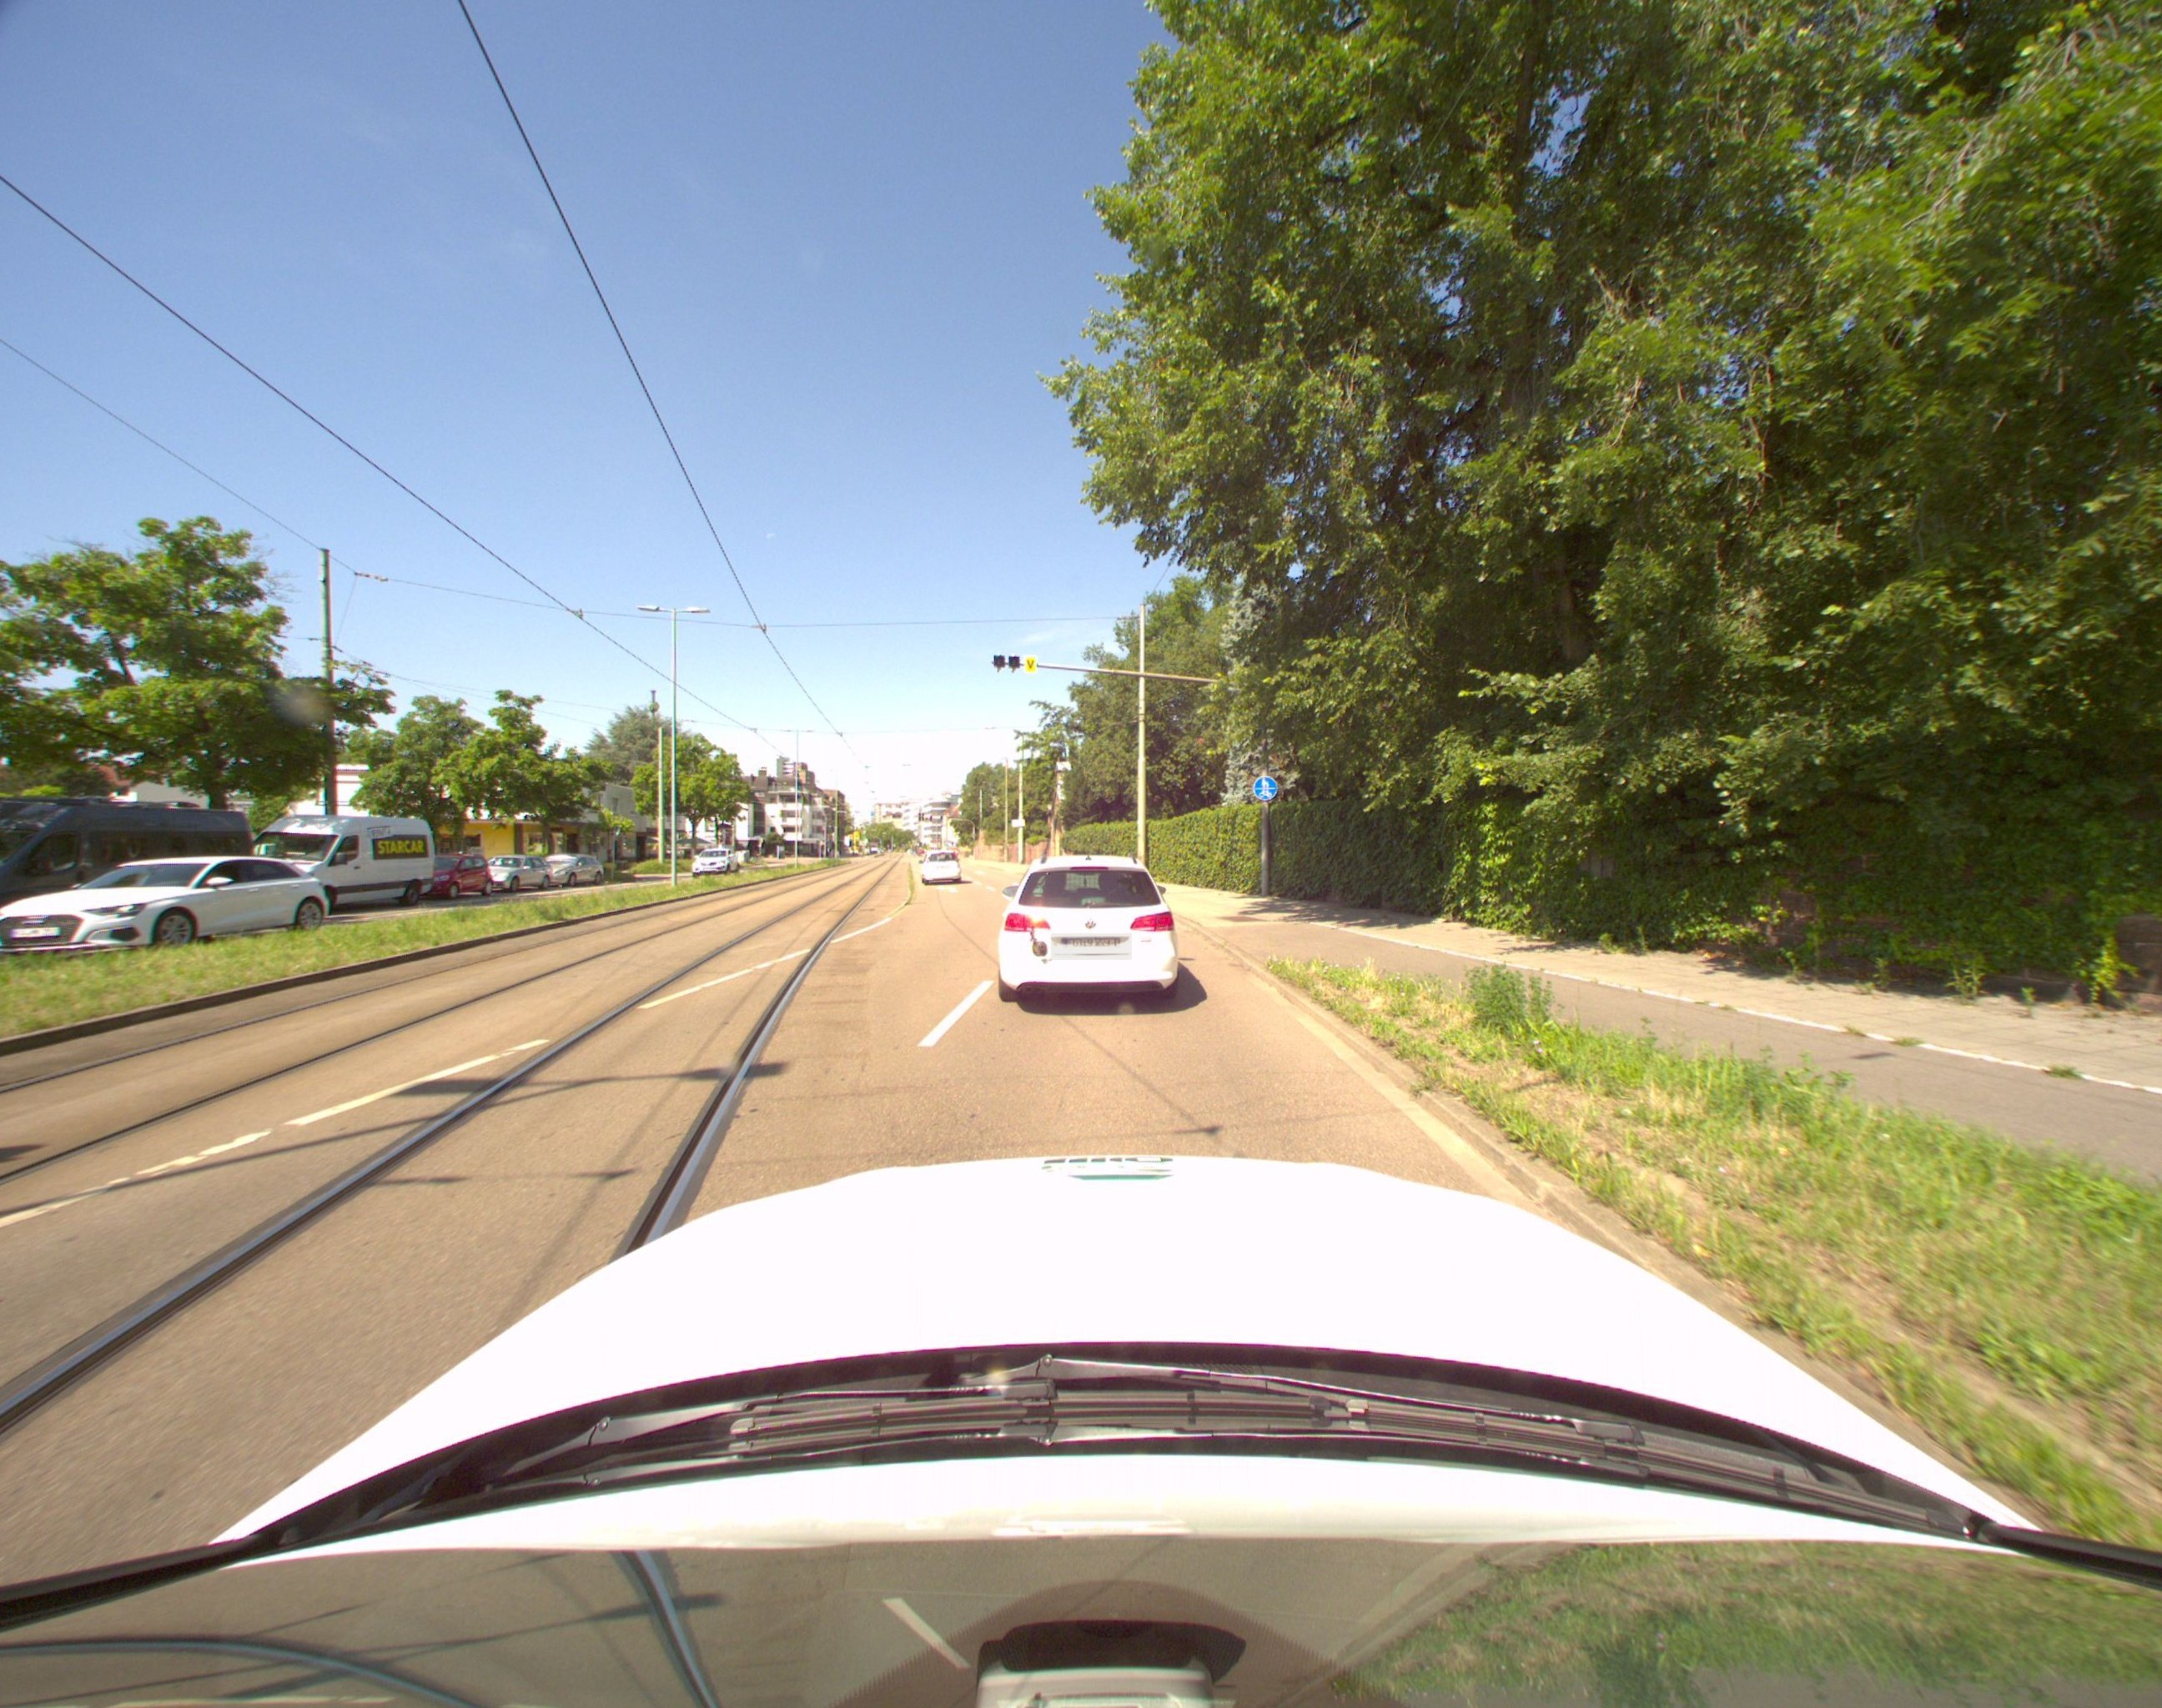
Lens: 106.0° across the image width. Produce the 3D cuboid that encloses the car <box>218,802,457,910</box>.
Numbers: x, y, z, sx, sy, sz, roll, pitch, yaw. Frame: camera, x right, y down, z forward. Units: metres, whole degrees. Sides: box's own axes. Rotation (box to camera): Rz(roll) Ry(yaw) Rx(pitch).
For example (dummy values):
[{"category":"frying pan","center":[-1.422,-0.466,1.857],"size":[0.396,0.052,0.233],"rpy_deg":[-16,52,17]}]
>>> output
[{"category":"car","center":[-20.706,0.026,23.194],"size":[2.197,2.630,5.955],"rpy_deg":[2,0,-12]}]

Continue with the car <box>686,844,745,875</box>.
[{"category":"car","center":[-20.704,0.263,46.335],"size":[2.045,1.597,4.640],"rpy_deg":[-2,1,-12]}]

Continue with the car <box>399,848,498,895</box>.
[{"category":"car","center":[-21.686,0.562,28.070],"size":[1.293,1.490,3.659],"rpy_deg":[-1,0,-14]}]

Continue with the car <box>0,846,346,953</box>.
[{"category":"car","center":[-14.401,0.598,13.149],"size":[1.793,1.422,4.318],"rpy_deg":[-1,1,-12]}]

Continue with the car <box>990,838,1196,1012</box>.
[{"category":"car","center":[0.112,0.591,8.996],"size":[1.773,1.490,3.846],"rpy_deg":[-1,1,0]}]

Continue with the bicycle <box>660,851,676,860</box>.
[{"category":"bicycle","center":[-41.168,0.138,81.268],"size":[0.783,0.888,2.382],"rpy_deg":[-1,0,-11]}]

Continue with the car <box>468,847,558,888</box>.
[{"category":"car","center":[-22.613,0.481,32.588],"size":[1.292,1.490,4.333],"rpy_deg":[2,0,-12]}]

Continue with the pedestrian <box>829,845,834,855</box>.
[{"category":"pedestrian","center":[-50.480,-0.815,164.453],"size":[0.939,2.013,0.985],"rpy_deg":[-1,0,-18]}]

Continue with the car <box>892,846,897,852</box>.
[{"category":"car","center":[-57.567,-1.527,251.487],"size":[1.700,1.591,3.519],"rpy_deg":[-1,1,-13]}]

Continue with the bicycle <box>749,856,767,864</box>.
[{"category":"bicycle","center":[-39.418,0.704,99.424],"size":[0.546,0.921,2.191],"rpy_deg":[-1,0,32]}]

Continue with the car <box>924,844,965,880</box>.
[{"category":"car","center":[-6.326,0.329,38.152],"size":[1.729,1.596,4.001],"rpy_deg":[-1,1,-8]}]

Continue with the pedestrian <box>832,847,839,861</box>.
[{"category":"pedestrian","center":[-30.895,-0.021,102.450],"size":[0.829,1.738,0.926],"rpy_deg":[-1,0,-20]}]

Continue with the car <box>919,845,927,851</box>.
[{"category":"car","center":[-49.201,-1.785,253.142],"size":[1.999,1.903,3.976],"rpy_deg":[-1,1,-18]}]

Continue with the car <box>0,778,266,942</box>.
[{"category":"car","center":[-19.068,0.043,15.349],"size":[2.197,2.668,6.056],"rpy_deg":[2,0,-12]}]

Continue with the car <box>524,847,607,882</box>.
[{"category":"car","center":[-23.724,0.448,37.681],"size":[1.604,1.490,4.601],"rpy_deg":[2,0,-10]}]
